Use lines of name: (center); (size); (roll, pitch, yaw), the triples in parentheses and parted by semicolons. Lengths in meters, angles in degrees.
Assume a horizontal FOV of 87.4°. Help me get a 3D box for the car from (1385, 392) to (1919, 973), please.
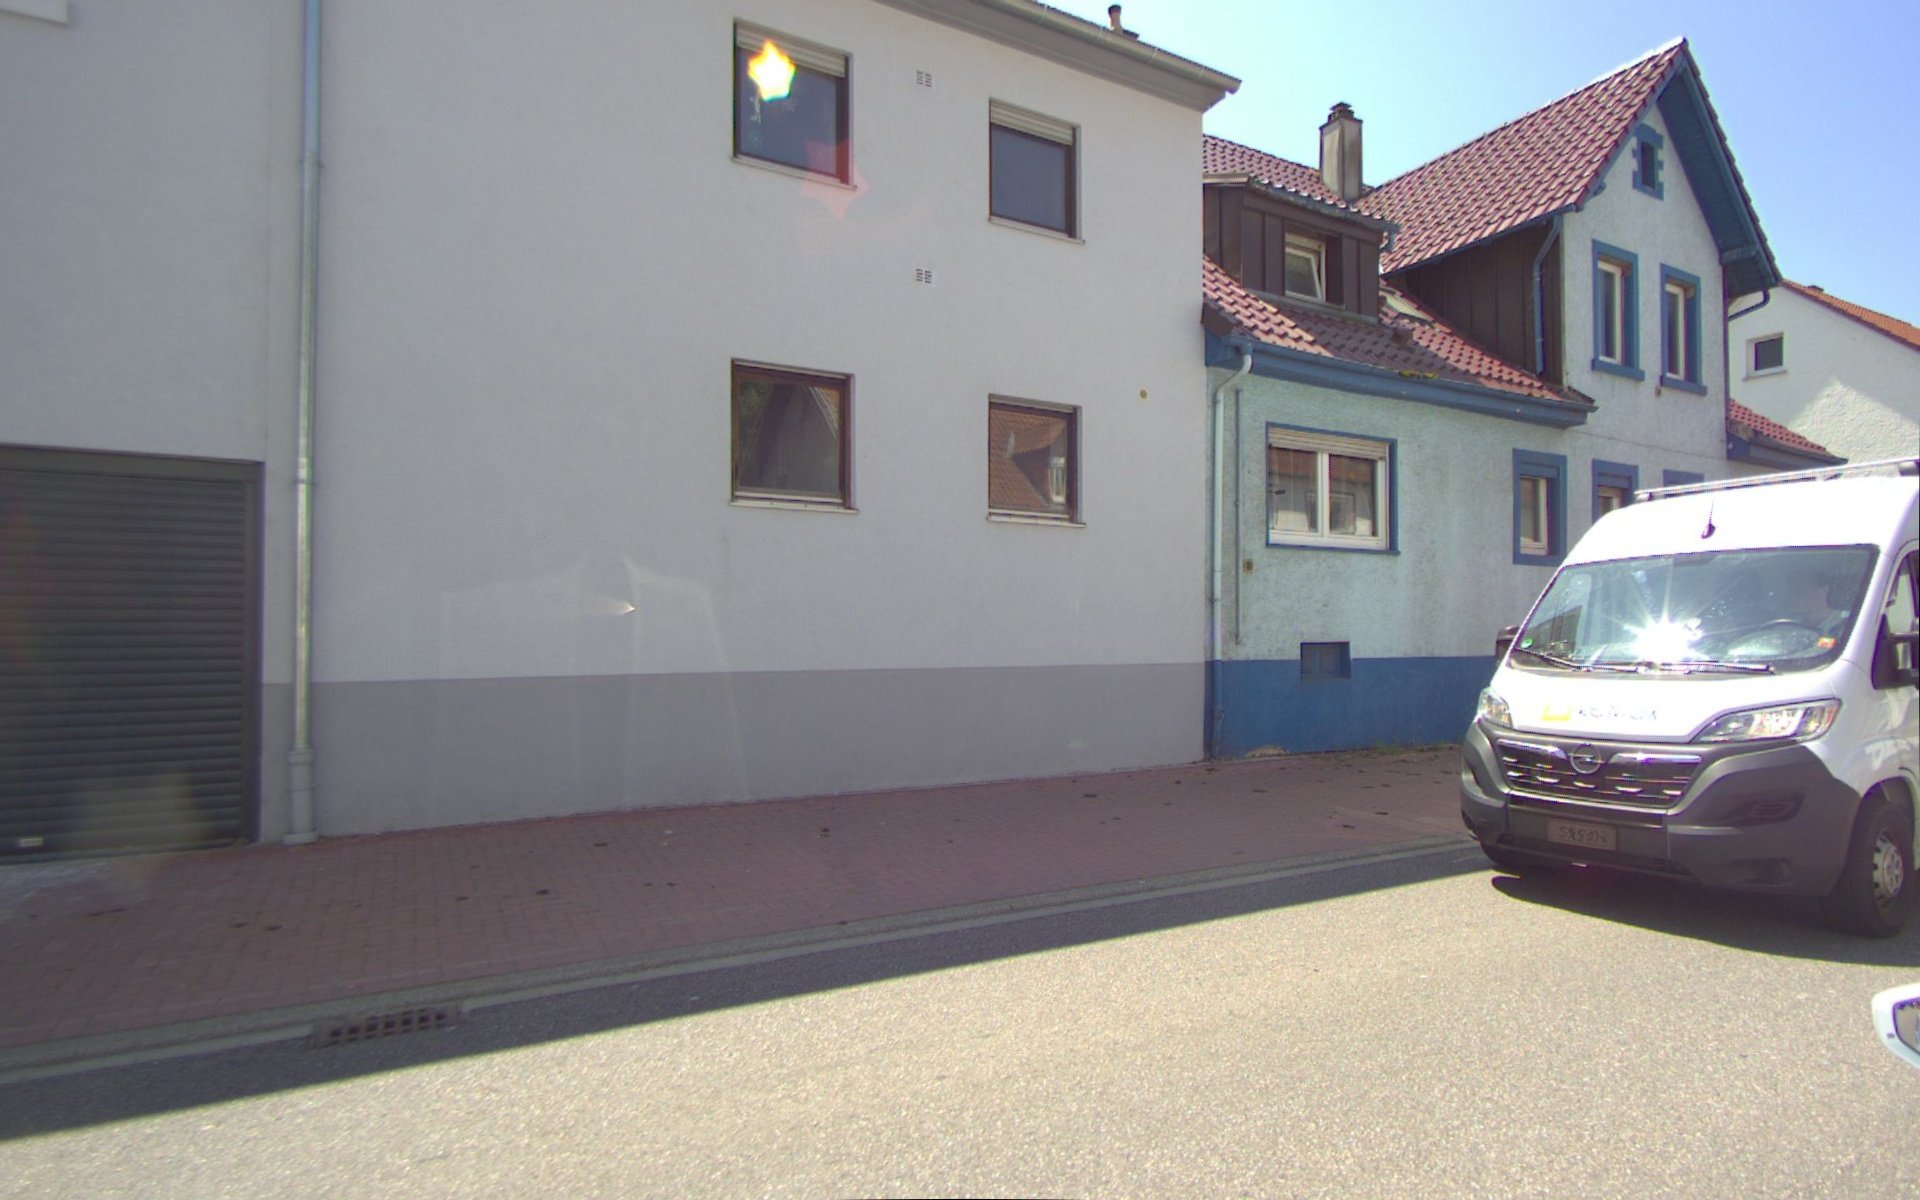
car: (5.536, 0.438, 6.753); (5.397, 2.575, 2.115); (1, -3, -30)
